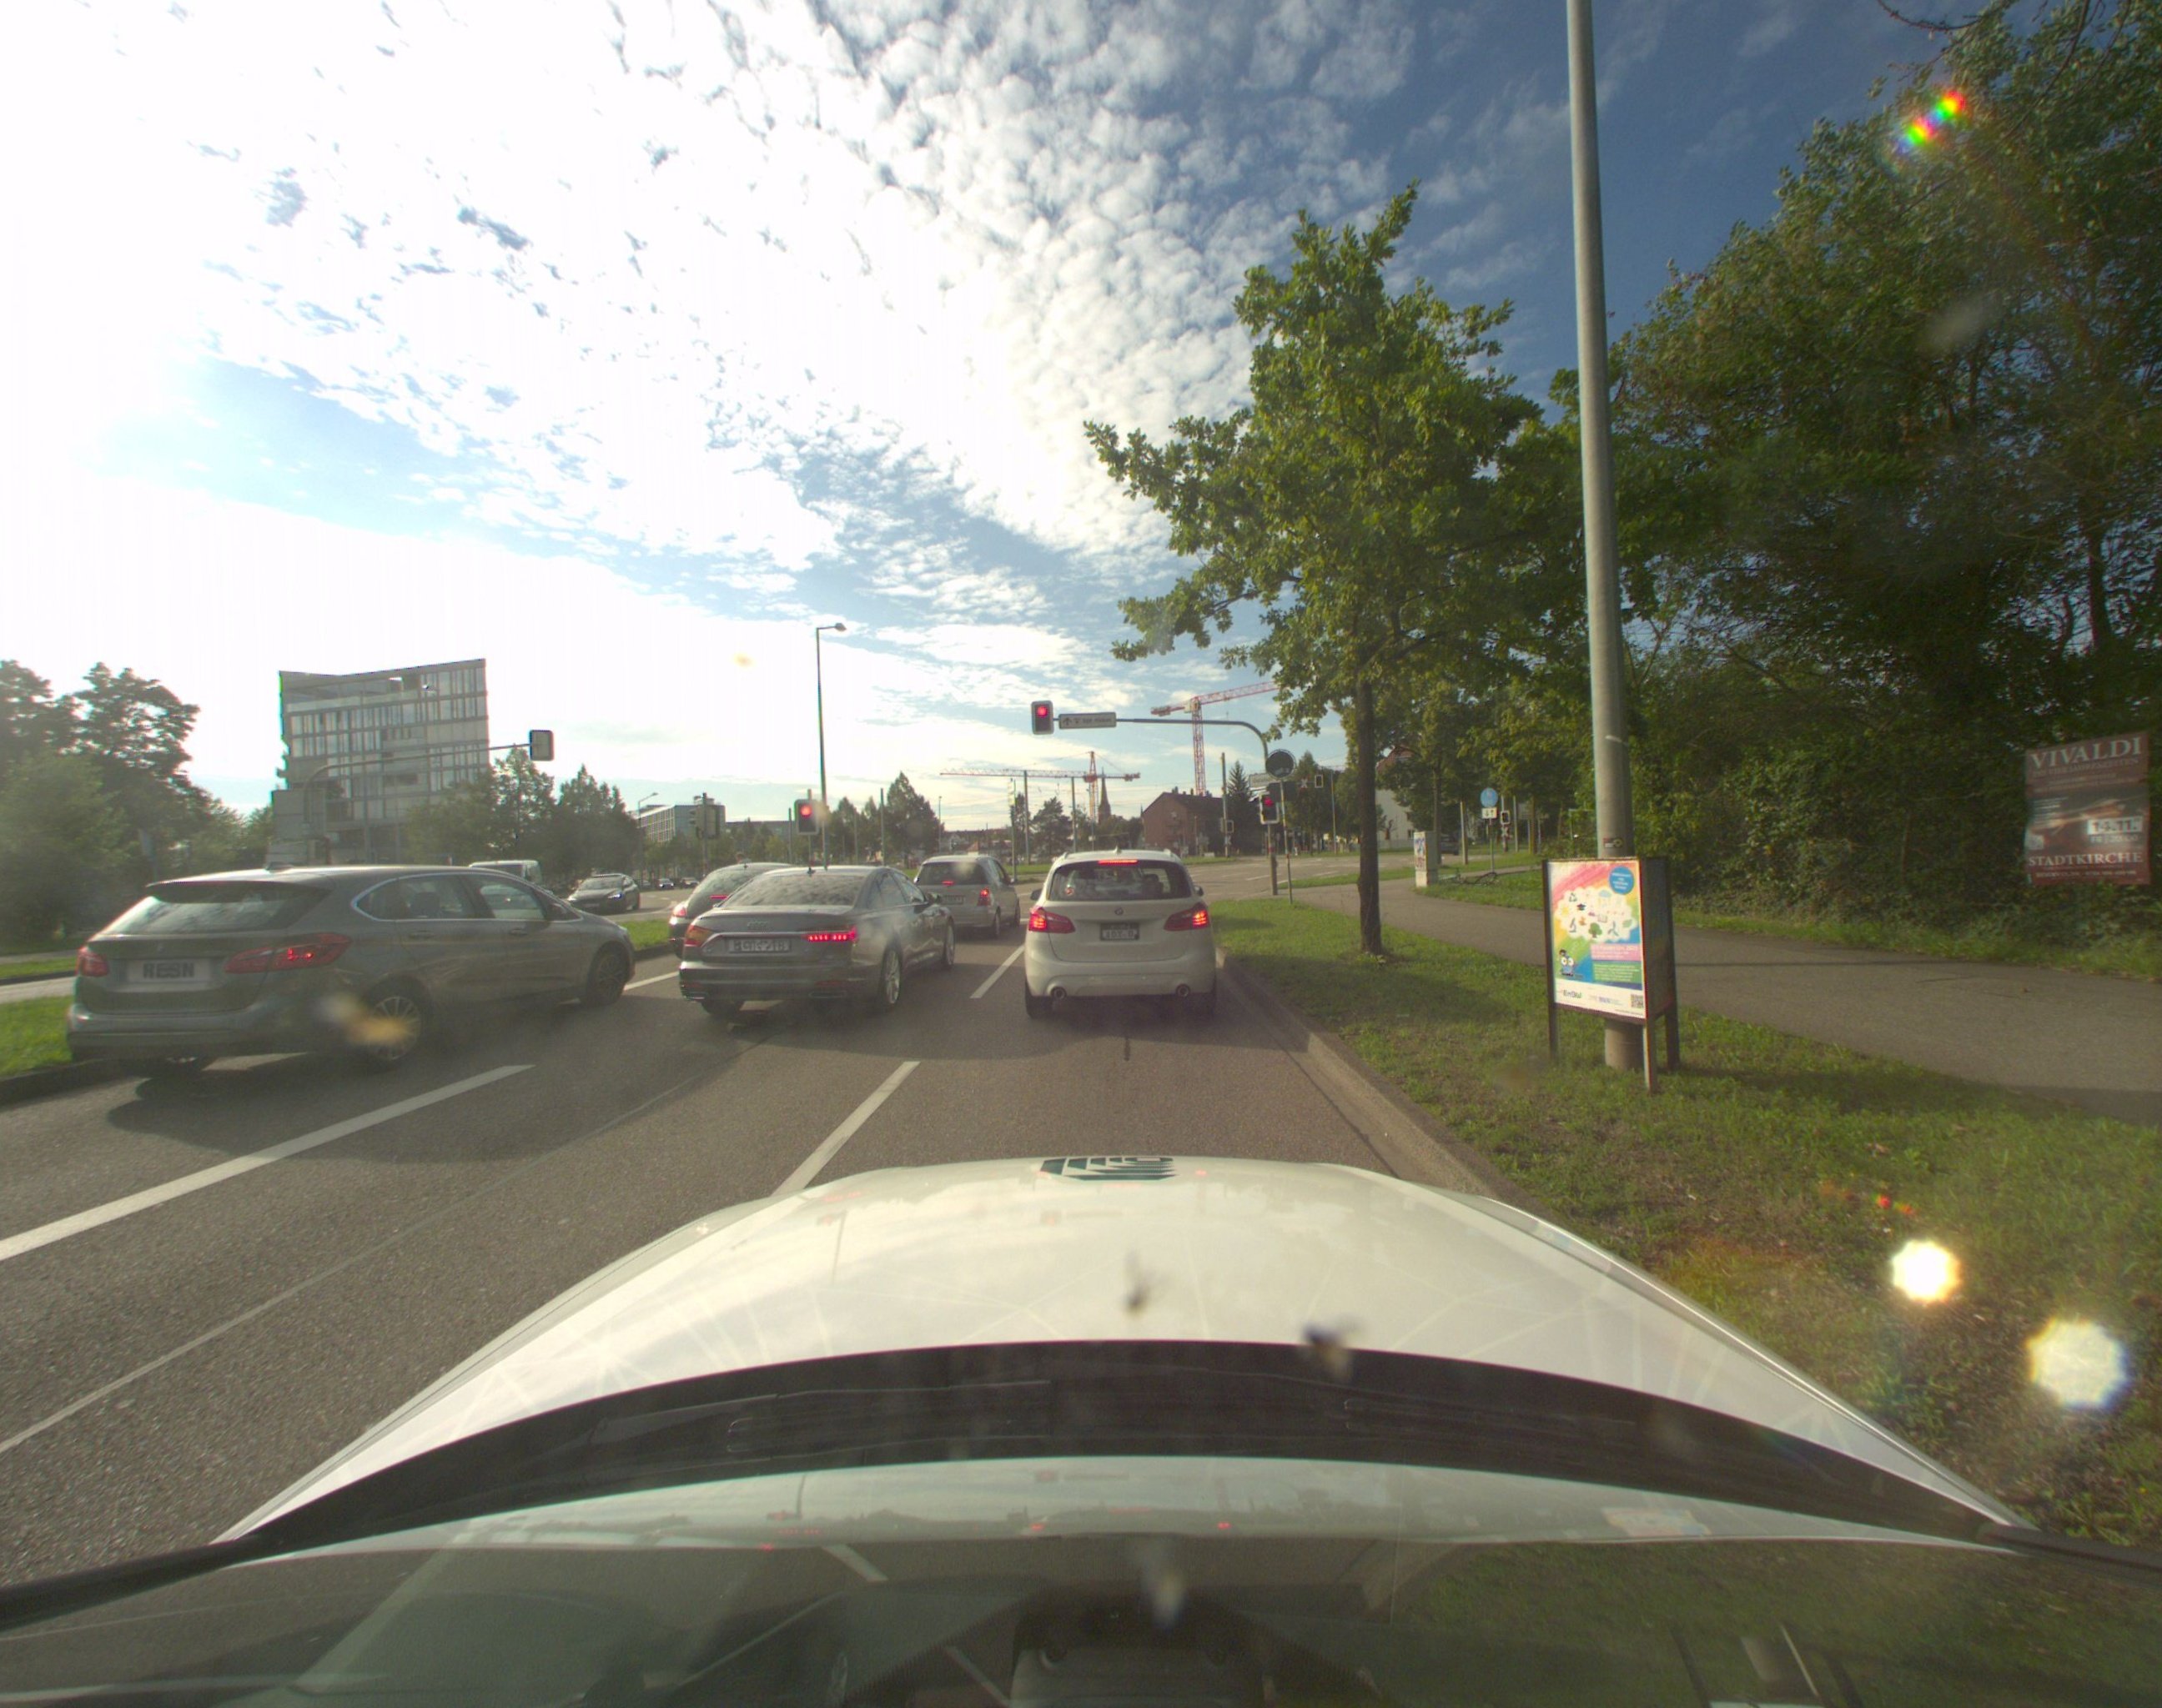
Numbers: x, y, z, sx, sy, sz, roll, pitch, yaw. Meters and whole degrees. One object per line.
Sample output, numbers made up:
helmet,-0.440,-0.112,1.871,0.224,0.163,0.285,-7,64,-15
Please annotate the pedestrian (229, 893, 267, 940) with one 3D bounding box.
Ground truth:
pedestrian,-28.885,2.151,28.246,0.654,1.569,0.614,-2,-1,-8

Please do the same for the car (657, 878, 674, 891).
car,-50.974,3.757,99.893,1.600,1.415,3.638,-4,-1,-25

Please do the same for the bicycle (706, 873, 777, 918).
bicycle,-9.581,1.164,23.057,1.728,1.163,0.652,-2,-1,-15

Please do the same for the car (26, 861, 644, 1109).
car,-5.947,0.870,7.311,1.722,1.558,4.021,-1,0,2

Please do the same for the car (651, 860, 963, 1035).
car,-2.714,0.830,9.374,1.883,1.483,4.614,-1,-1,2

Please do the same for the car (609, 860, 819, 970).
car,-5.909,0.892,13.641,1.674,1.523,3.811,-1,0,1

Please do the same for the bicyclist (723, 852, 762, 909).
bicyclist,-9.580,0.741,23.066,0.850,1.526,0.737,-3,-1,-15

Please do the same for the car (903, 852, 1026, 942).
car,-2.211,0.761,16.503,1.722,1.558,4.060,-1,0,2

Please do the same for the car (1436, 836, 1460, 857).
car,28.775,-0.623,63.963,1.556,1.574,3.216,-2,1,22

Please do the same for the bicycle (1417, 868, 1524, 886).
bicycle,10.513,0.613,22.121,1.407,0.385,2.568,-3,0,-9

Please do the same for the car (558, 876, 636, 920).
car,-18.498,1.653,31.296,1.909,1.410,4.174,-4,-1,-23

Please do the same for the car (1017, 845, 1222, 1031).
car,0.390,0.718,9.007,1.723,1.558,4.059,-1,0,2

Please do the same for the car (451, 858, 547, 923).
car,-23.419,1.443,33.027,2.004,2.235,5.874,-4,0,-25

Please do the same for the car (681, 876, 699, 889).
car,-49.547,3.601,103.215,1.626,1.464,3.693,-3,0,-32
